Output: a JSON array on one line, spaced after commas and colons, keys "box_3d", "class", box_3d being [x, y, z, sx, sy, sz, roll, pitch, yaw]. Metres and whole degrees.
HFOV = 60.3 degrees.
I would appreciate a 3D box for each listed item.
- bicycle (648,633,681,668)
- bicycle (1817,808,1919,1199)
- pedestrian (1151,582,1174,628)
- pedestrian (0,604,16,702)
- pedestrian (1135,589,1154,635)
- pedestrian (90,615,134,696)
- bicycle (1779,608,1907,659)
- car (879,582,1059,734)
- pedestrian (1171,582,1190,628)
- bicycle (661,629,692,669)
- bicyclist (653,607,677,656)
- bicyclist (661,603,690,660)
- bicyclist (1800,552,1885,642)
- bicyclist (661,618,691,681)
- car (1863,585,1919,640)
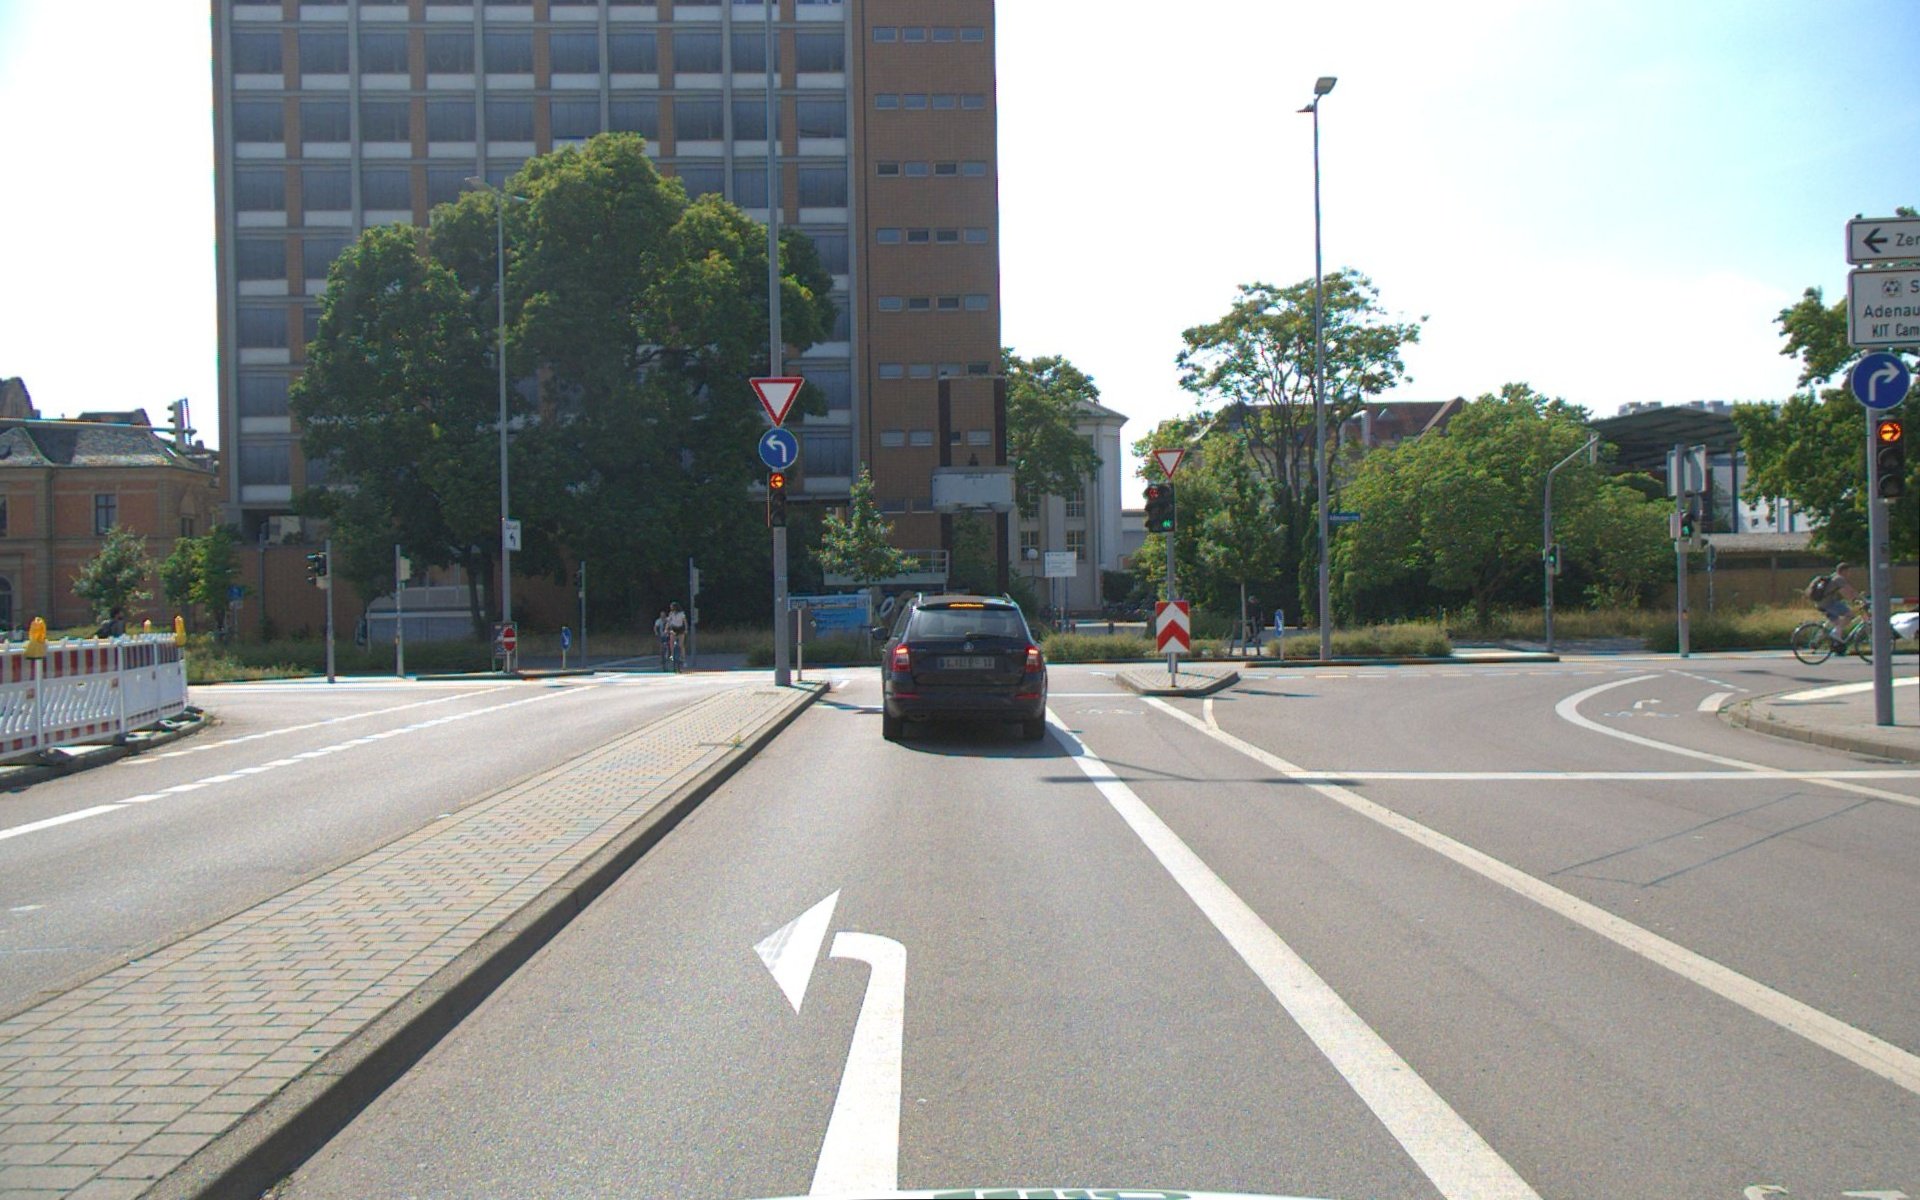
[{"box_3d": [-8.867, 1.505, 49.705, 0.690, 0.994, 2.029, -2, 0, -3], "class": "bicycle"}, {"box_3d": [2.636, 1.035, 3.440, 0.584, 0.948, 2.027, 0, 0, -2], "class": "bicycle"}, {"box_3d": [8.622, 0.217, 70.289, 0.777, 1.907, 0.639, -3, 0, 19], "class": "pedestrian"}, {"box_3d": [-17.908, 0.990, 30.389, 0.724, 1.783, 1.105, -2, -2, -17], "class": "pedestrian"}, {"box_3d": [7.875, 0.509, 70.554, 0.584, 1.907, 0.638, 1, -1, 22], "class": "pedestrian"}, {"box_3d": [-16.423, 1.069, 32.034, 0.621, 1.518, 0.614, -2, 0, -17], "class": "pedestrian"}, {"box_3d": [15.169, 0.576, 28.448, 1.849, 0.806, 0.561, -1, 1, 12], "class": "bicycle"}, {"box_3d": [0.073, 0.565, 18.036, 1.743, 1.468, 3.817, 0, 0, -1], "class": "car"}, {"box_3d": [9.238, 0.211, 69.322, 0.624, 1.907, 0.796, -3, 0, -1], "class": "pedestrian"}, {"box_3d": [-7.579, 1.310, 44.274, 0.606, 0.977, 1.965, -4, 0, -6], "class": "bicycle"}, {"box_3d": [-8.868, 0.954, 49.738, 0.528, 1.441, 1.029, -2, -1, -3], "class": "bicyclist"}, {"box_3d": [-7.599, 0.840, 44.189, 0.606, 1.468, 0.919, -4, 0, -6], "class": "bicyclist"}, {"box_3d": [15.167, -0.052, 28.457, 1.140, 1.500, 0.564, -2, 0, 11], "class": "bicyclist"}, {"box_3d": [-7.556, 1.310, 44.049, 0.606, 1.609, 1.012, -4, 0, -6], "class": "bicyclist"}, {"box_3d": [27.694, 0.315, 46.126, 3.906, 1.490, 1.999, -2, -1, -1], "class": "car"}]
